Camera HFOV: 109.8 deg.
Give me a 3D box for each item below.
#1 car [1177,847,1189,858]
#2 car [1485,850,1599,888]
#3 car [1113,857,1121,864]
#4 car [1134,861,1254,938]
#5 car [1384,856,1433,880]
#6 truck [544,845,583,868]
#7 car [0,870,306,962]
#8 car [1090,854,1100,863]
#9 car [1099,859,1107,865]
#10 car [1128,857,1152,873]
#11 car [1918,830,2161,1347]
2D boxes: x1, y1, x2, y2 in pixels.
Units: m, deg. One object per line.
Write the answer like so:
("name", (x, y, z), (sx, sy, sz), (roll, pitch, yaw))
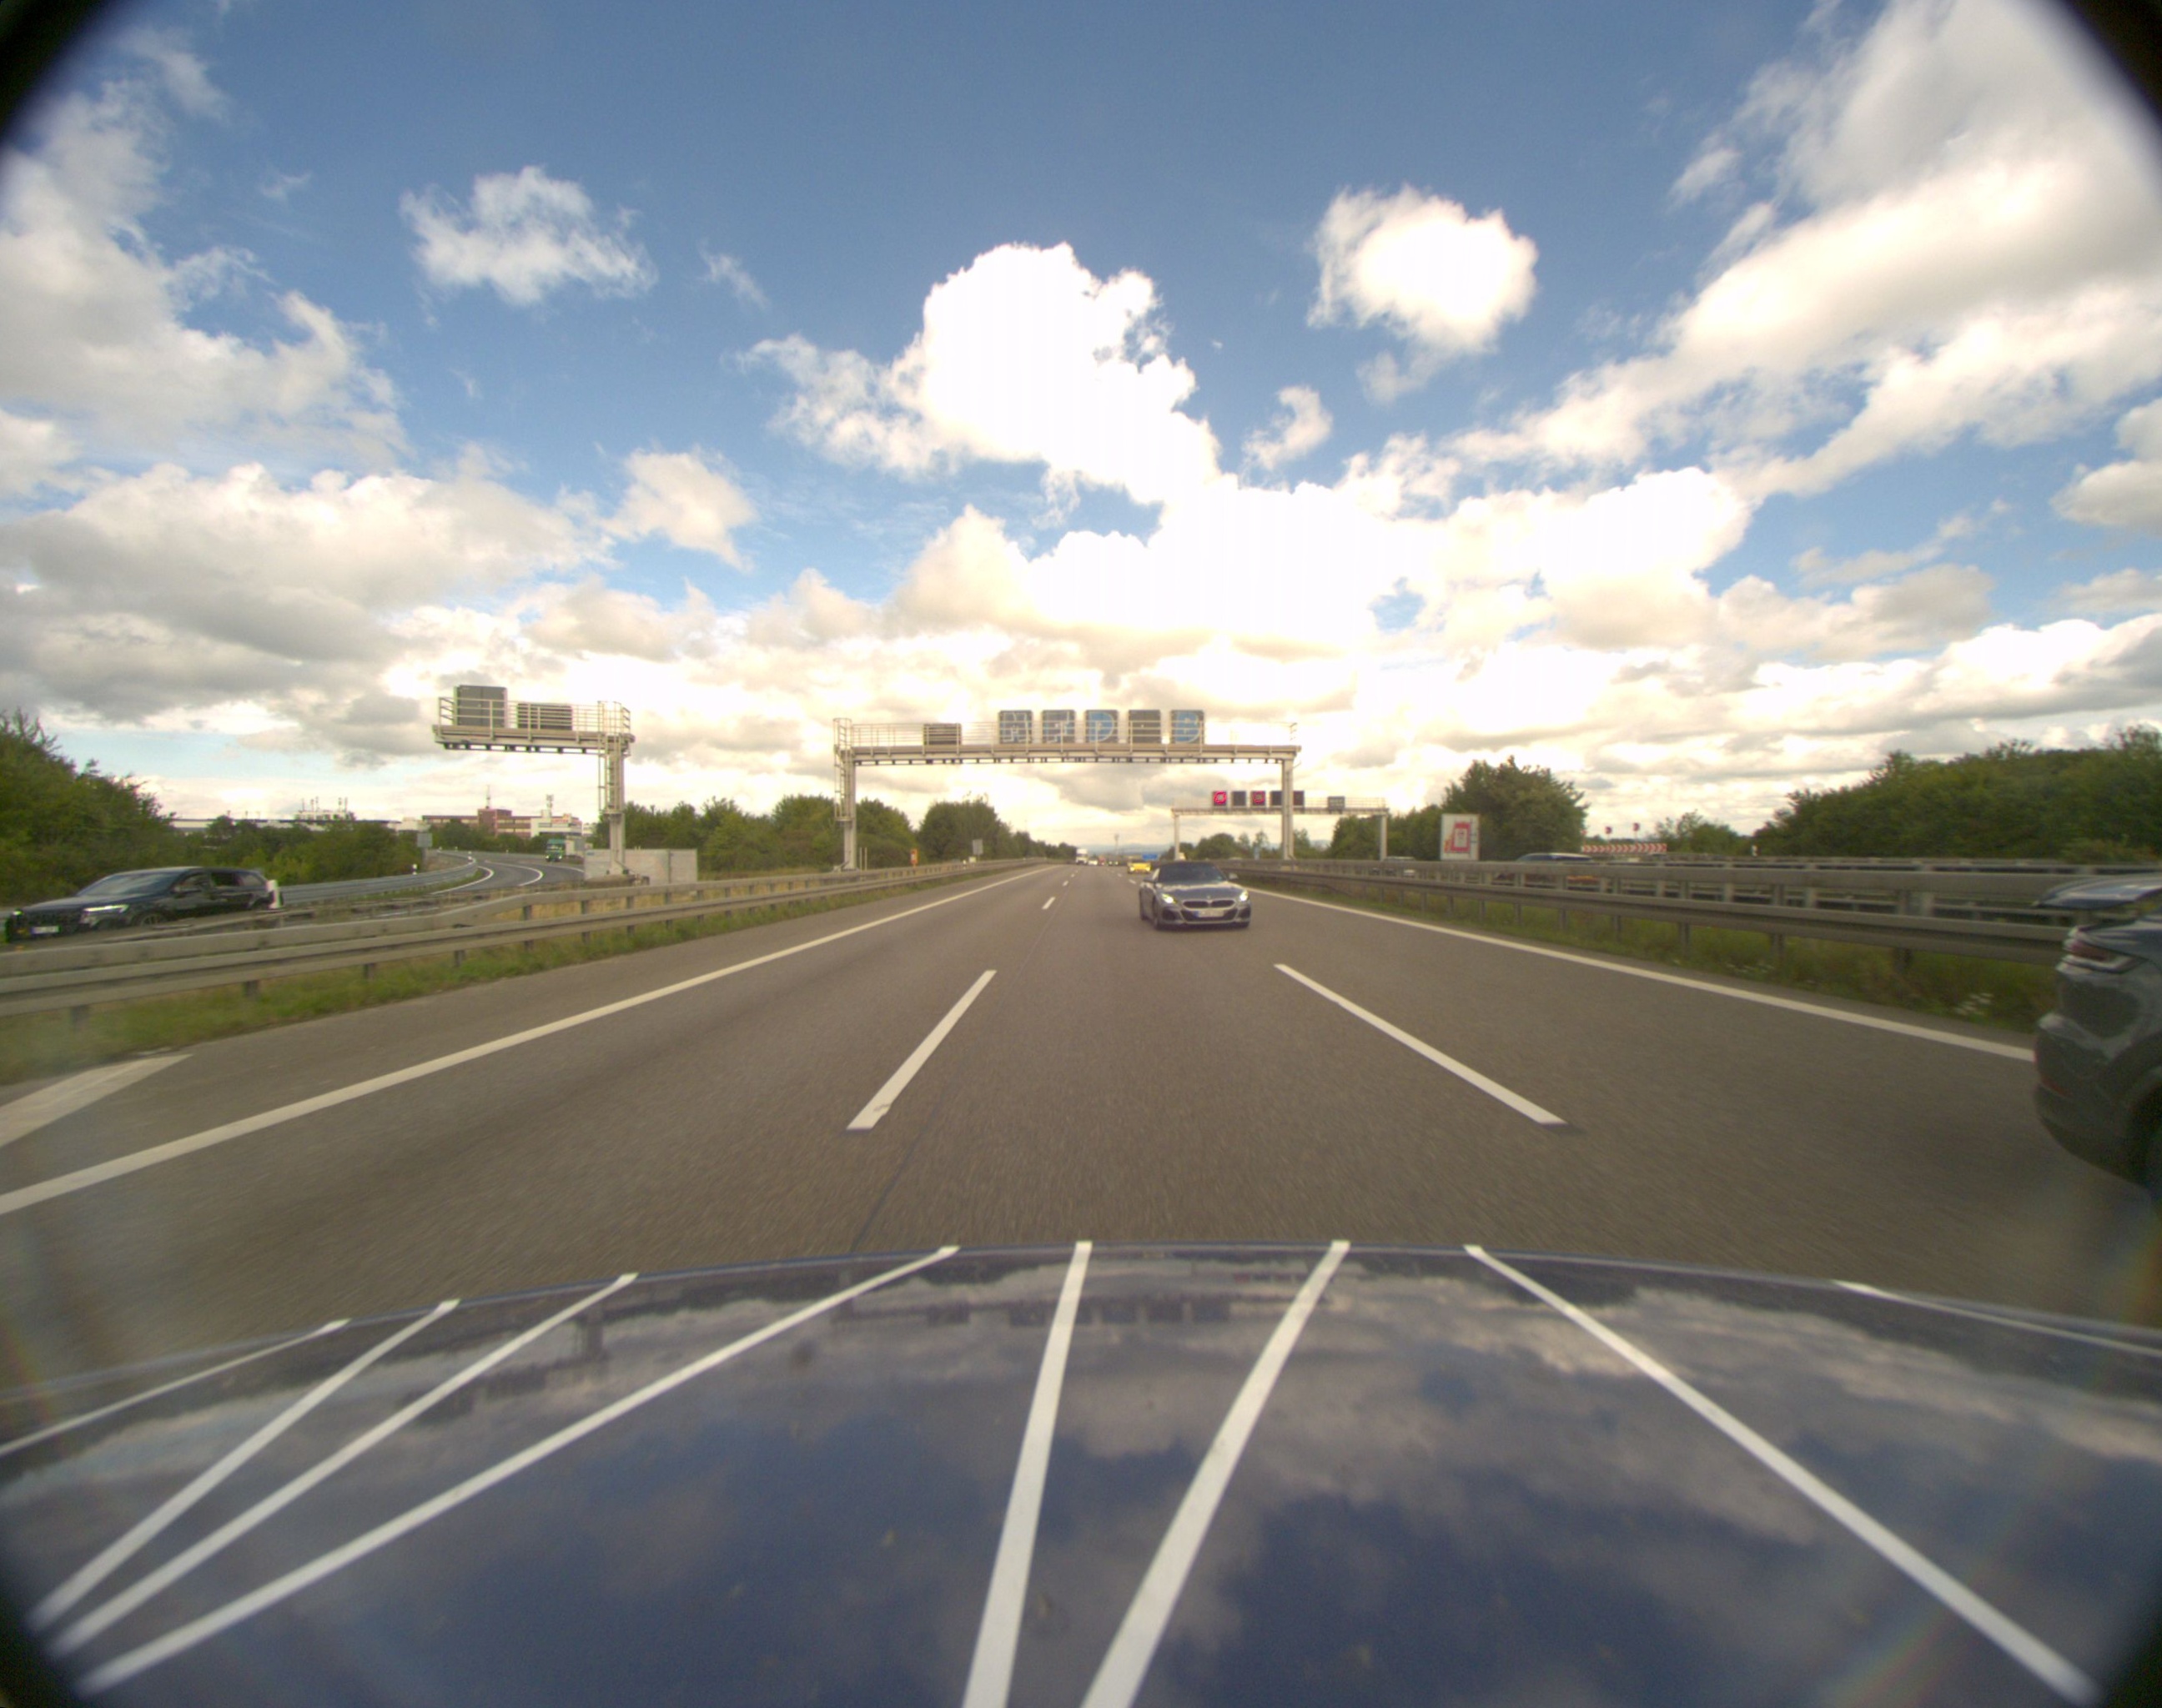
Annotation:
("car", (22.478, -0.279, 167.991), (2.003, 2.271, 4.577), (-1, 1, -1))
("car", (16.358, 0.490, 27.205), (1.528, 1.212, 4.114), (-2, 0, 0))
("car", (7.634, 1.371, 160.956), (1.593, 1.307, 3.977), (1, 1, 0))
("car", (2.268, 0.875, 16.531), (1.878, 1.295, 4.941), (-1, 1, 0))
("car", (21.350, 0.876, 49.660), (1.528, 1.394, 3.875), (-2, 0, 0))
("truck", (-90.858, 0.442, 133.651), (2.973, 3.775, 13.435), (-2, 0, -23))
("car", (-20.802, 1.262, 17.307), (1.877, 1.626, 4.854), (-1, 1, -10))
("car", (2.617, 0.836, 142.605), (1.737, 1.608, 4.000), (-1, 0, 1))
("car", (6.023, 2.298, 209.898), (1.999, 1.619, 4.429), (0, 0, 0))
("car", (5.131, 0.910, 66.394), (1.811, 1.307, 4.247), (1, 1, 0))
("car", (4.345, 0.741, 0.336), (1.917, 1.626, 5.499), (-1, 1, 0))
